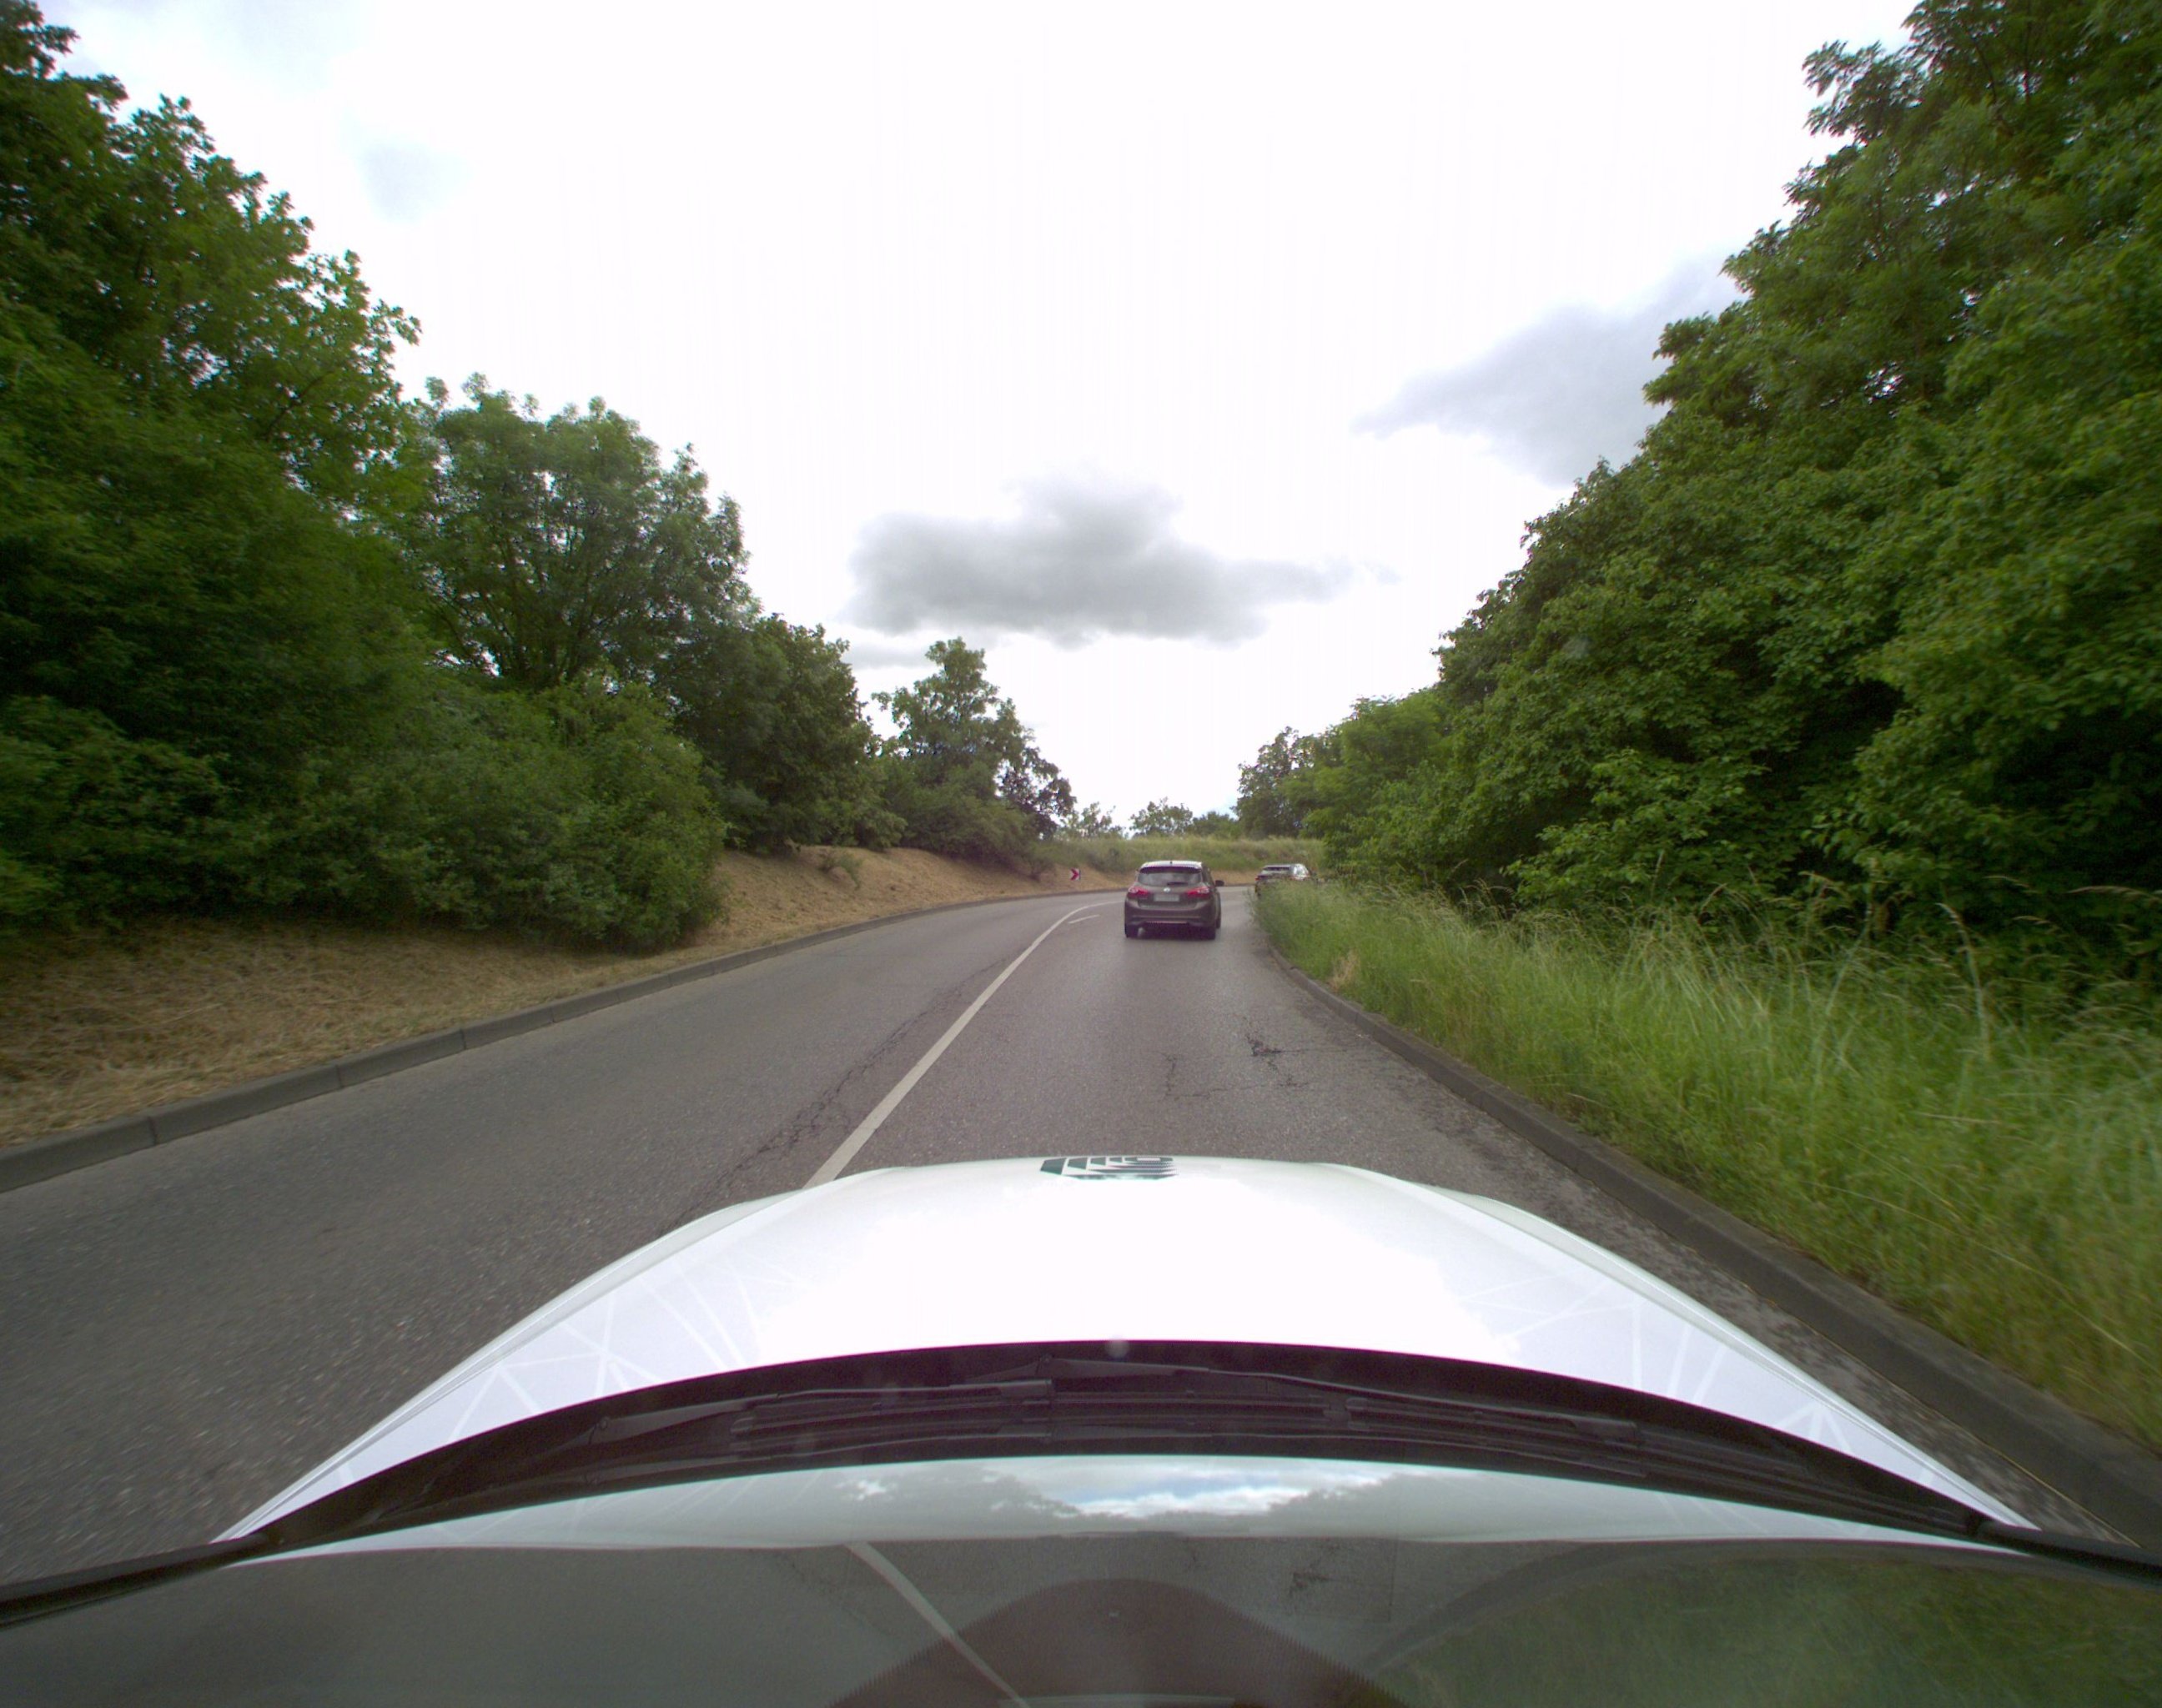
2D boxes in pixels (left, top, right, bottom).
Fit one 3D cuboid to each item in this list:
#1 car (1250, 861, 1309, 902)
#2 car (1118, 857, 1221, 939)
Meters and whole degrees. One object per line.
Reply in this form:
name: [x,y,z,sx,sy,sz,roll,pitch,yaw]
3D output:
car: [7.991,1.049,32.588,1.884,1.466,4.020,0,0,20]
car: [1.983,0.817,17.183,1.833,1.493,4.012,0,0,11]
